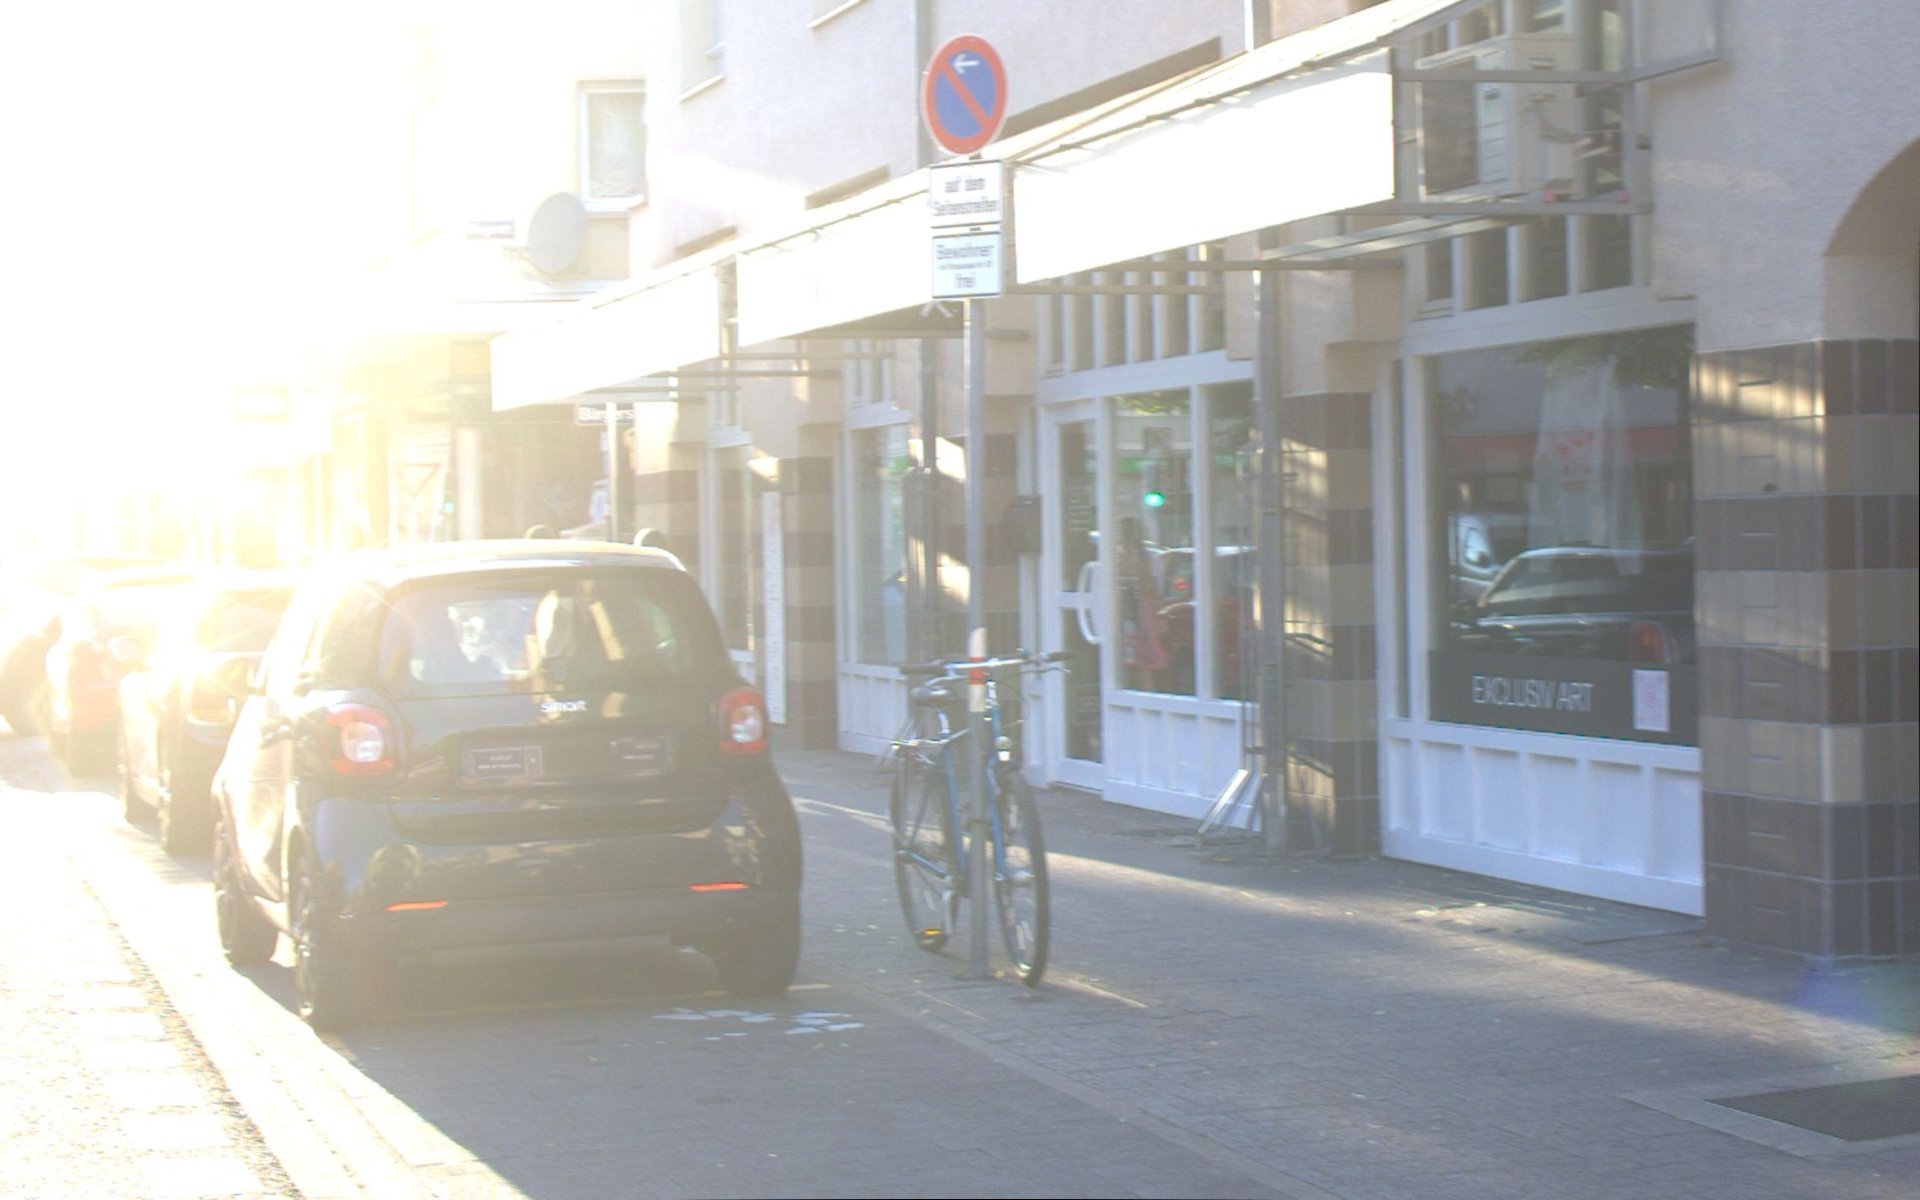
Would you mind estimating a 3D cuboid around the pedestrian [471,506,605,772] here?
[{"bbox_3d":[-2.789,0.242,22.658,0.630,1.694,1.040,-2,1,-19],"label":"pedestrian"}]

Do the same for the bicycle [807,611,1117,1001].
[{"bbox_3d":[-0.033,0.667,12.081,0.558,1.202,1.978,-1,1,-16],"label":"bicycle"}]

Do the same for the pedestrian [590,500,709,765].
[{"bbox_3d":[-2.052,0.202,22.676,0.559,1.694,0.832,-2,1,-19],"label":"pedestrian"}]

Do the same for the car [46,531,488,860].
[{"bbox_3d":[-3.884,0.428,18.810,1.789,1.575,3.788,-1,1,-20],"label":"car"}]

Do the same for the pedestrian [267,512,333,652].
[{"bbox_3d":[-8.579,-0.237,44.659,0.718,1.785,0.667,-2,1,-17],"label":"pedestrian"}]

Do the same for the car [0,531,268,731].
[{"bbox_3d":[-8.295,0.232,31.212,1.875,1.692,4.316,1,1,22],"label":"car"}]

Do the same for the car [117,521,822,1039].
[{"bbox_3d":[-1.983,0.519,12.790,1.789,1.575,3.968,-1,1,-20],"label":"car"}]

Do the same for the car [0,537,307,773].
[{"bbox_3d":[-6.058,0.340,25.429,1.789,1.575,3.788,-1,1,-20],"label":"car"}]

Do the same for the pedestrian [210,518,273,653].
[{"bbox_3d":[-9.713,-0.203,46.467,0.718,1.785,0.667,-2,1,-17],"label":"pedestrian"}]
